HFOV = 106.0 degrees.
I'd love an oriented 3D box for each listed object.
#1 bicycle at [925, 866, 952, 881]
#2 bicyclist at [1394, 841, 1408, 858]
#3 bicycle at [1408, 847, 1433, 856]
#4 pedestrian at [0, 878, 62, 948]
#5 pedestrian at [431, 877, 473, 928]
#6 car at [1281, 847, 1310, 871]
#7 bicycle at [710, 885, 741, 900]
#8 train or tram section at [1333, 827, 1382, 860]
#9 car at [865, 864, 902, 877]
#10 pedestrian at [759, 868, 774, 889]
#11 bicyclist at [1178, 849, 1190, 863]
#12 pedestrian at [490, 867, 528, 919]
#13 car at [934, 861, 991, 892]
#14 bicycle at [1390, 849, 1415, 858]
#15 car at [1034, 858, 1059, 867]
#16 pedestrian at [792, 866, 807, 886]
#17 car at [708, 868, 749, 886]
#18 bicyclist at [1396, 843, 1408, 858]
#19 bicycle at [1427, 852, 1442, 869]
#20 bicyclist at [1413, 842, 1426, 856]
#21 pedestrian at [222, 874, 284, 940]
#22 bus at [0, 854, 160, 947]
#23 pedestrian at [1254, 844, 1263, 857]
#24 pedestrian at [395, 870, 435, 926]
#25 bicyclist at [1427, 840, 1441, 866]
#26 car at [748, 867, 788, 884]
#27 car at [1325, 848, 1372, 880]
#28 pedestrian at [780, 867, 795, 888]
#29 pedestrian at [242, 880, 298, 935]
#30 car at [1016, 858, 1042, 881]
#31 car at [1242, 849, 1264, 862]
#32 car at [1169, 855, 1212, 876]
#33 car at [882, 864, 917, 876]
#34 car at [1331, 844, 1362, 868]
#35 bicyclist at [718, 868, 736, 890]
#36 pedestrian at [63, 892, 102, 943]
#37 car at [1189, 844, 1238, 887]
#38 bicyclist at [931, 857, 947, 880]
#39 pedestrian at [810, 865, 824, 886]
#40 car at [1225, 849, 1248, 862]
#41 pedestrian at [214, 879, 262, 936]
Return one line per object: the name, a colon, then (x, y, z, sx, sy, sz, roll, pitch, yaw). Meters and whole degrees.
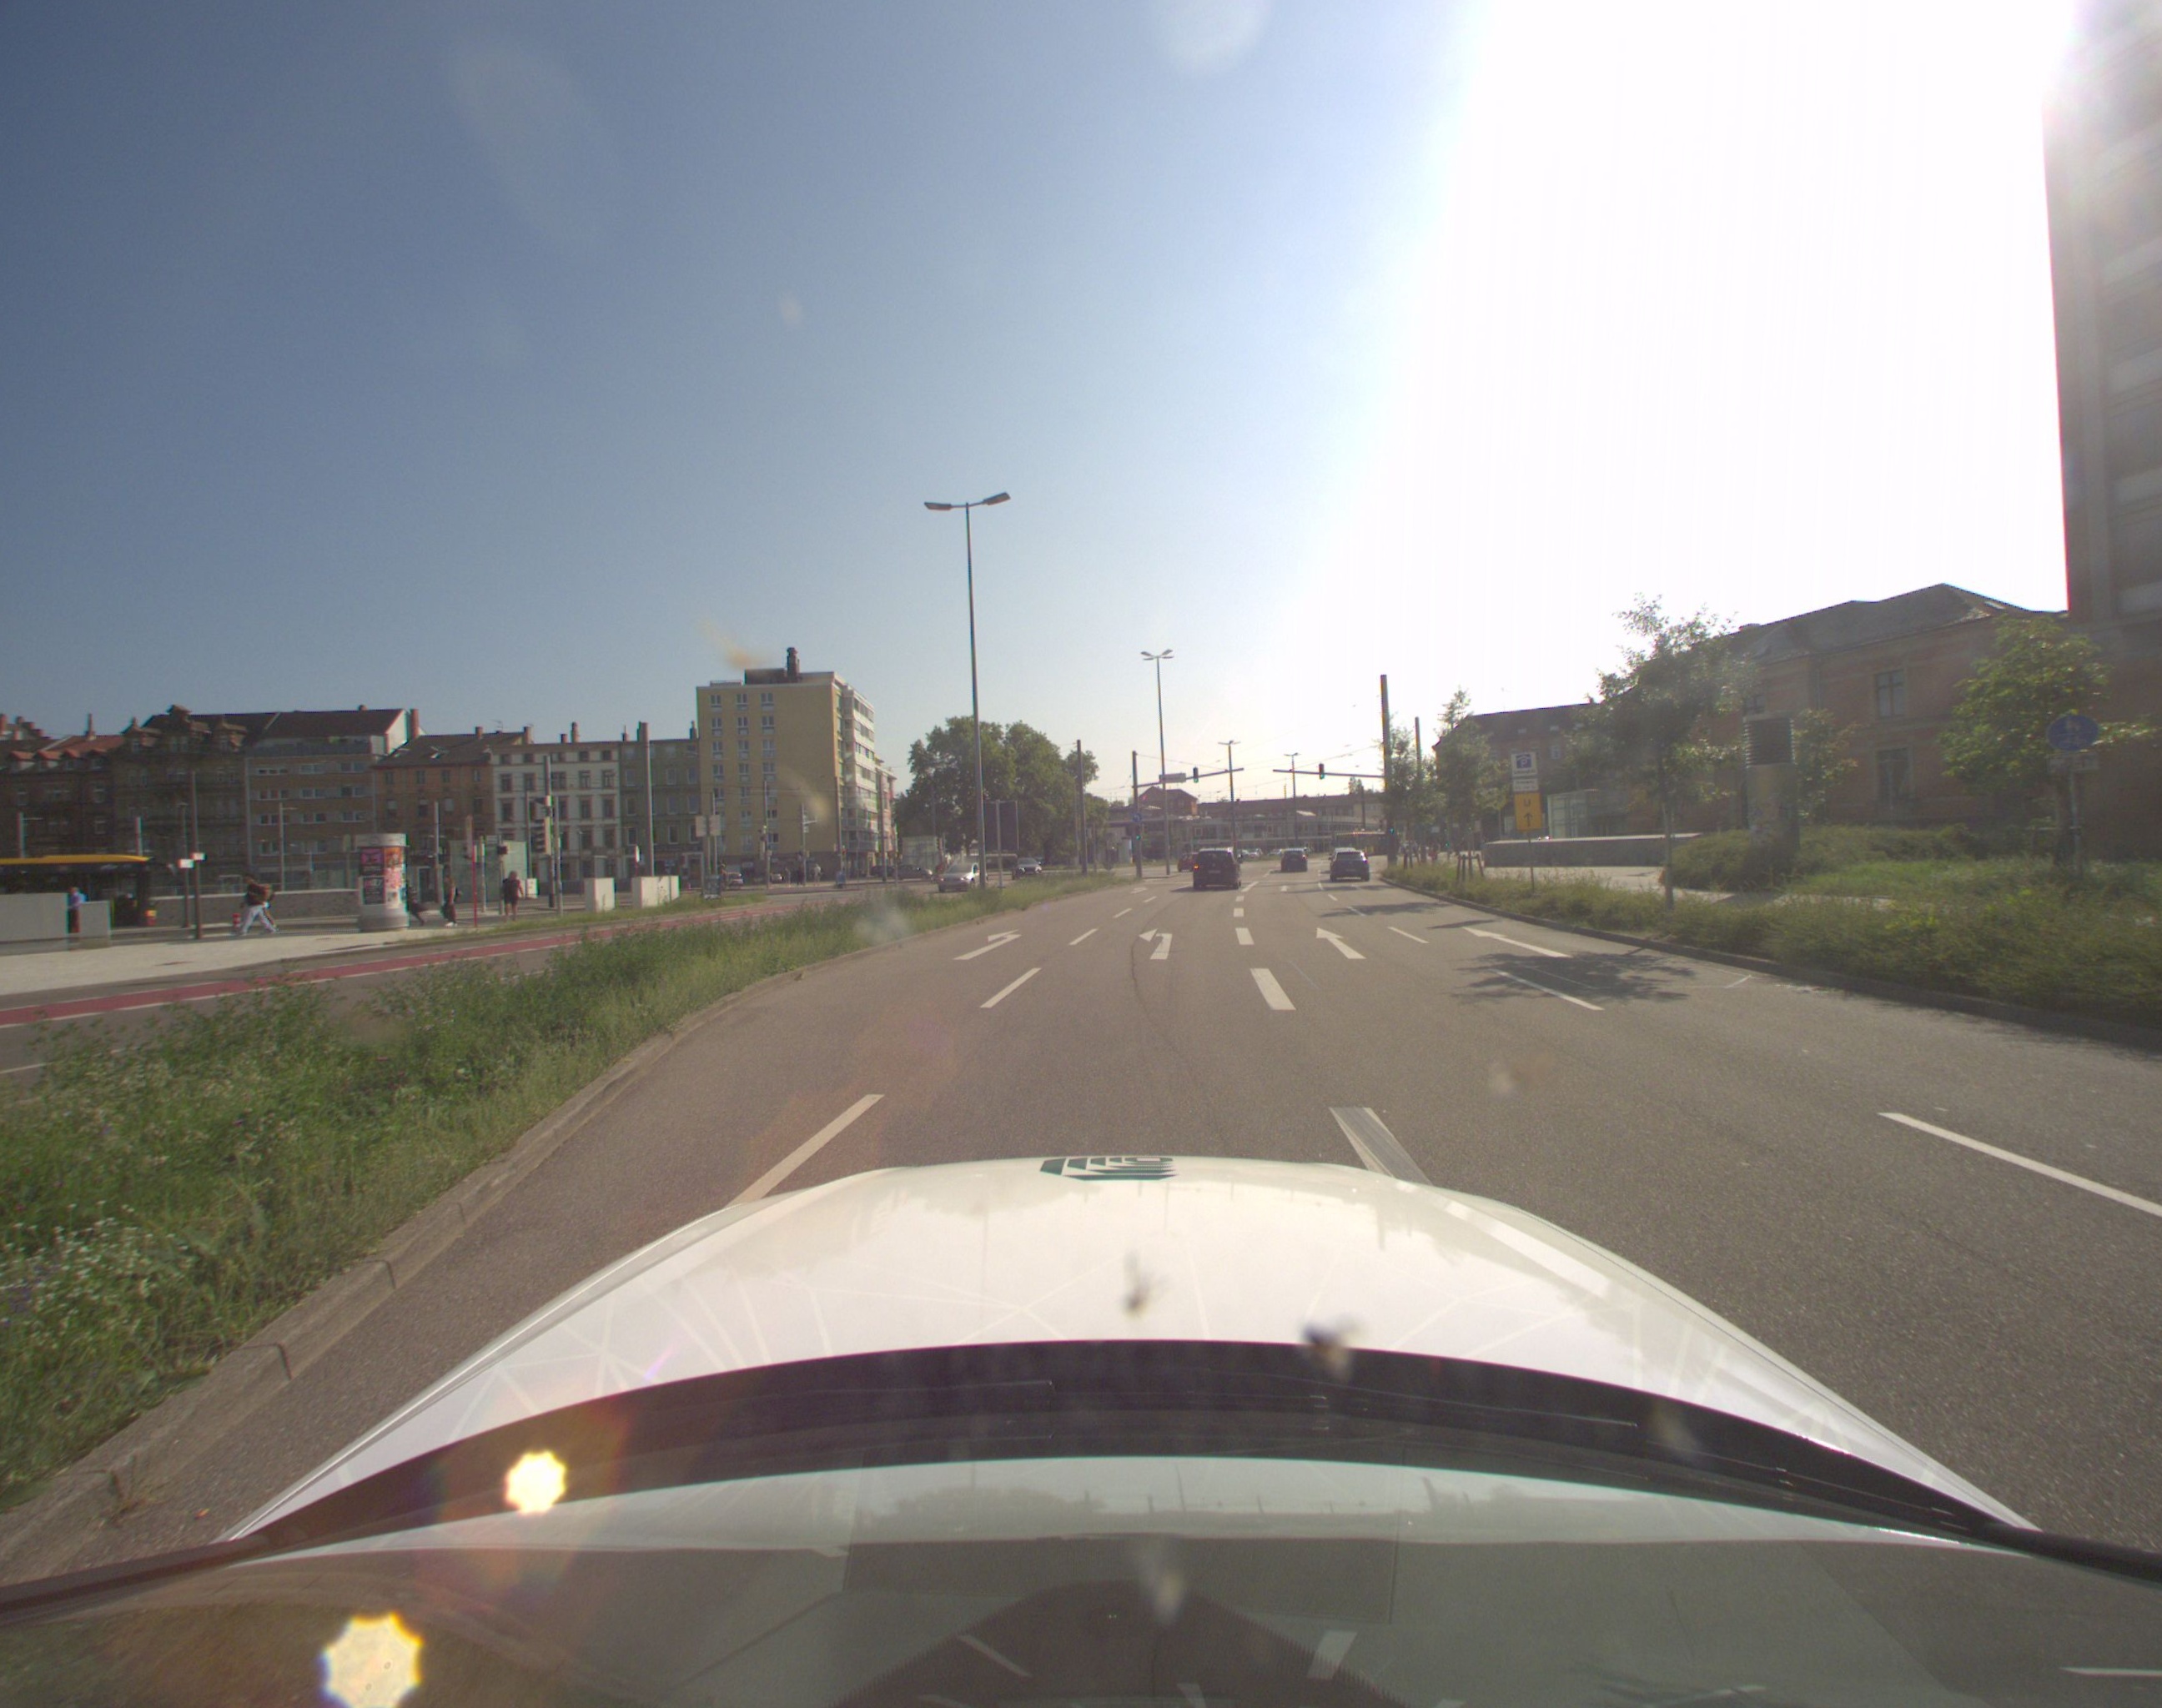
bicycle: (-10.262, 1.402, 58.700, 1.805, 0.932, 0.726, -2, 0, 2)
bicyclist: (37.214, -0.516, 94.706, 0.938, 2.024, 1.084, -2, 0, -23)
bicycle: (40.813, -0.256, 97.833, 2.619, 0.964, 1.089, -2, 0, -11)
pedestrian: (-27.032, 1.506, 20.742, 0.983, 1.705, 0.866, -3, -1, 1)
pedestrian: (-20.587, 1.569, 26.651, 0.995, 1.559, 0.855, -2, -1, -42)
car: (15.051, 0.315, 57.371, 1.812, 1.535, 4.429, -3, 0, 14)
bicycle: (-24.741, 2.659, 56.743, 1.805, 0.932, 0.726, -2, 0, 2)
train or tram section: (33.852, -1.351, 99.285, 2.629, 3.699, 10.658, -3, 0, 35)
car: (-23.944, 1.995, 98.682, 4.150, 1.354, 1.479, -2, 0, -5)
pedestrian: (-26.489, 2.036, 68.642, 0.920, 1.690, 0.921, -2, 0, -4)
bicyclist: (12.620, 0.258, 99.792, 0.948, 1.748, 1.173, -2, -1, 30)
pedestrian: (-20.473, 1.392, 29.162, 0.773, 1.800, 0.702, -3, -1, 6)
car: (-6.176, 1.136, 42.860, 1.803, 1.433, 4.234, -3, 0, 7)
bicycle: (38.208, -0.003, 96.842, 2.619, 0.964, 1.089, -2, 0, -11)
car: (-6.203, 1.486, 145.796, 4.541, 1.522, 1.684, -2, 0, -45)
pedestrian: (-24.006, 1.882, 69.398, 0.920, 1.690, 0.921, -2, 0, -4)
car: (-36.904, 2.423, 85.164, 4.491, 1.678, 2.013, -2, 0, 38)
bicyclist: (38.176, -0.423, 96.839, 0.934, 1.800, 1.089, -2, 0, -10)
bicycle: (21.740, 0.406, 50.078, 0.713, 0.960, 1.932, -3, 0, 25)
bicyclist: (40.609, -0.615, 97.793, 0.934, 1.680, 1.089, -2, 0, -10)
pedestrian: (-23.275, 1.472, 22.908, 0.978, 1.770, 0.871, -3, -1, 22)
bus: (-39.783, 1.753, 26.931, 2.682, 3.108, 12.291, -3, -1, 41)
pedestrian: (20.888, -0.374, 95.790, 0.770, 1.503, 0.714, -3, 0, 25)
pedestrian: (-22.018, 1.438, 26.911, 0.789, 1.800, 0.785, -3, -1, 34)
bicyclist: (21.756, -0.070, 50.150, 0.713, 1.513, 1.010, -3, -1, 25)
car: (-32.602, 2.275, 84.807, 4.492, 1.678, 2.012, -2, 0, 42)
car: (13.429, 0.461, 41.041, 1.813, 1.428, 4.428, -3, 0, 13)
pedestrian: (-25.085, 1.997, 69.616, 0.920, 1.690, 0.921, -2, 0, -4)
pedestrian: (-24.173, 1.580, 24.281, 0.977, 1.563, 0.871, -3, -1, 27)
car: (-3.989, 1.131, 62.082, 1.692, 1.617, 4.451, -2, 0, -7)
car: (22.485, 0.159, 106.186, 1.599, 1.476, 4.025, -5, -1, 29)
car: (8.613, 0.890, 64.537, 1.828, 1.535, 4.390, -3, 0, -15)
car: (-23.373, 2.006, 104.980, 4.150, 1.354, 1.575, -2, 0, -5)
car: (17.791, 0.099, 54.804, 1.811, 1.428, 4.432, -3, 0, 17)
bicyclist: (-24.662, 1.738, 56.743, 0.791, 1.527, 0.727, -2, 0, 2)
pedestrian: (-35.396, 2.232, 28.872, 0.820, 1.738, 0.841, -3, -1, 38)
car: (5.727, 0.457, 34.794, 1.813, 1.714, 4.427, -1, 0, 12)
bicyclist: (-10.239, 1.047, 58.701, 0.878, 1.652, 0.727, -2, 0, 2)
pedestrian: (-22.454, 1.836, 69.275, 0.920, 1.690, 0.921, -2, 0, -4)
car: (19.160, 0.178, 100.269, 1.599, 1.476, 4.025, -5, -1, 29)
pedestrian: (-27.587, 1.737, 26.660, 0.773, 1.800, 0.702, -3, -1, 6)
